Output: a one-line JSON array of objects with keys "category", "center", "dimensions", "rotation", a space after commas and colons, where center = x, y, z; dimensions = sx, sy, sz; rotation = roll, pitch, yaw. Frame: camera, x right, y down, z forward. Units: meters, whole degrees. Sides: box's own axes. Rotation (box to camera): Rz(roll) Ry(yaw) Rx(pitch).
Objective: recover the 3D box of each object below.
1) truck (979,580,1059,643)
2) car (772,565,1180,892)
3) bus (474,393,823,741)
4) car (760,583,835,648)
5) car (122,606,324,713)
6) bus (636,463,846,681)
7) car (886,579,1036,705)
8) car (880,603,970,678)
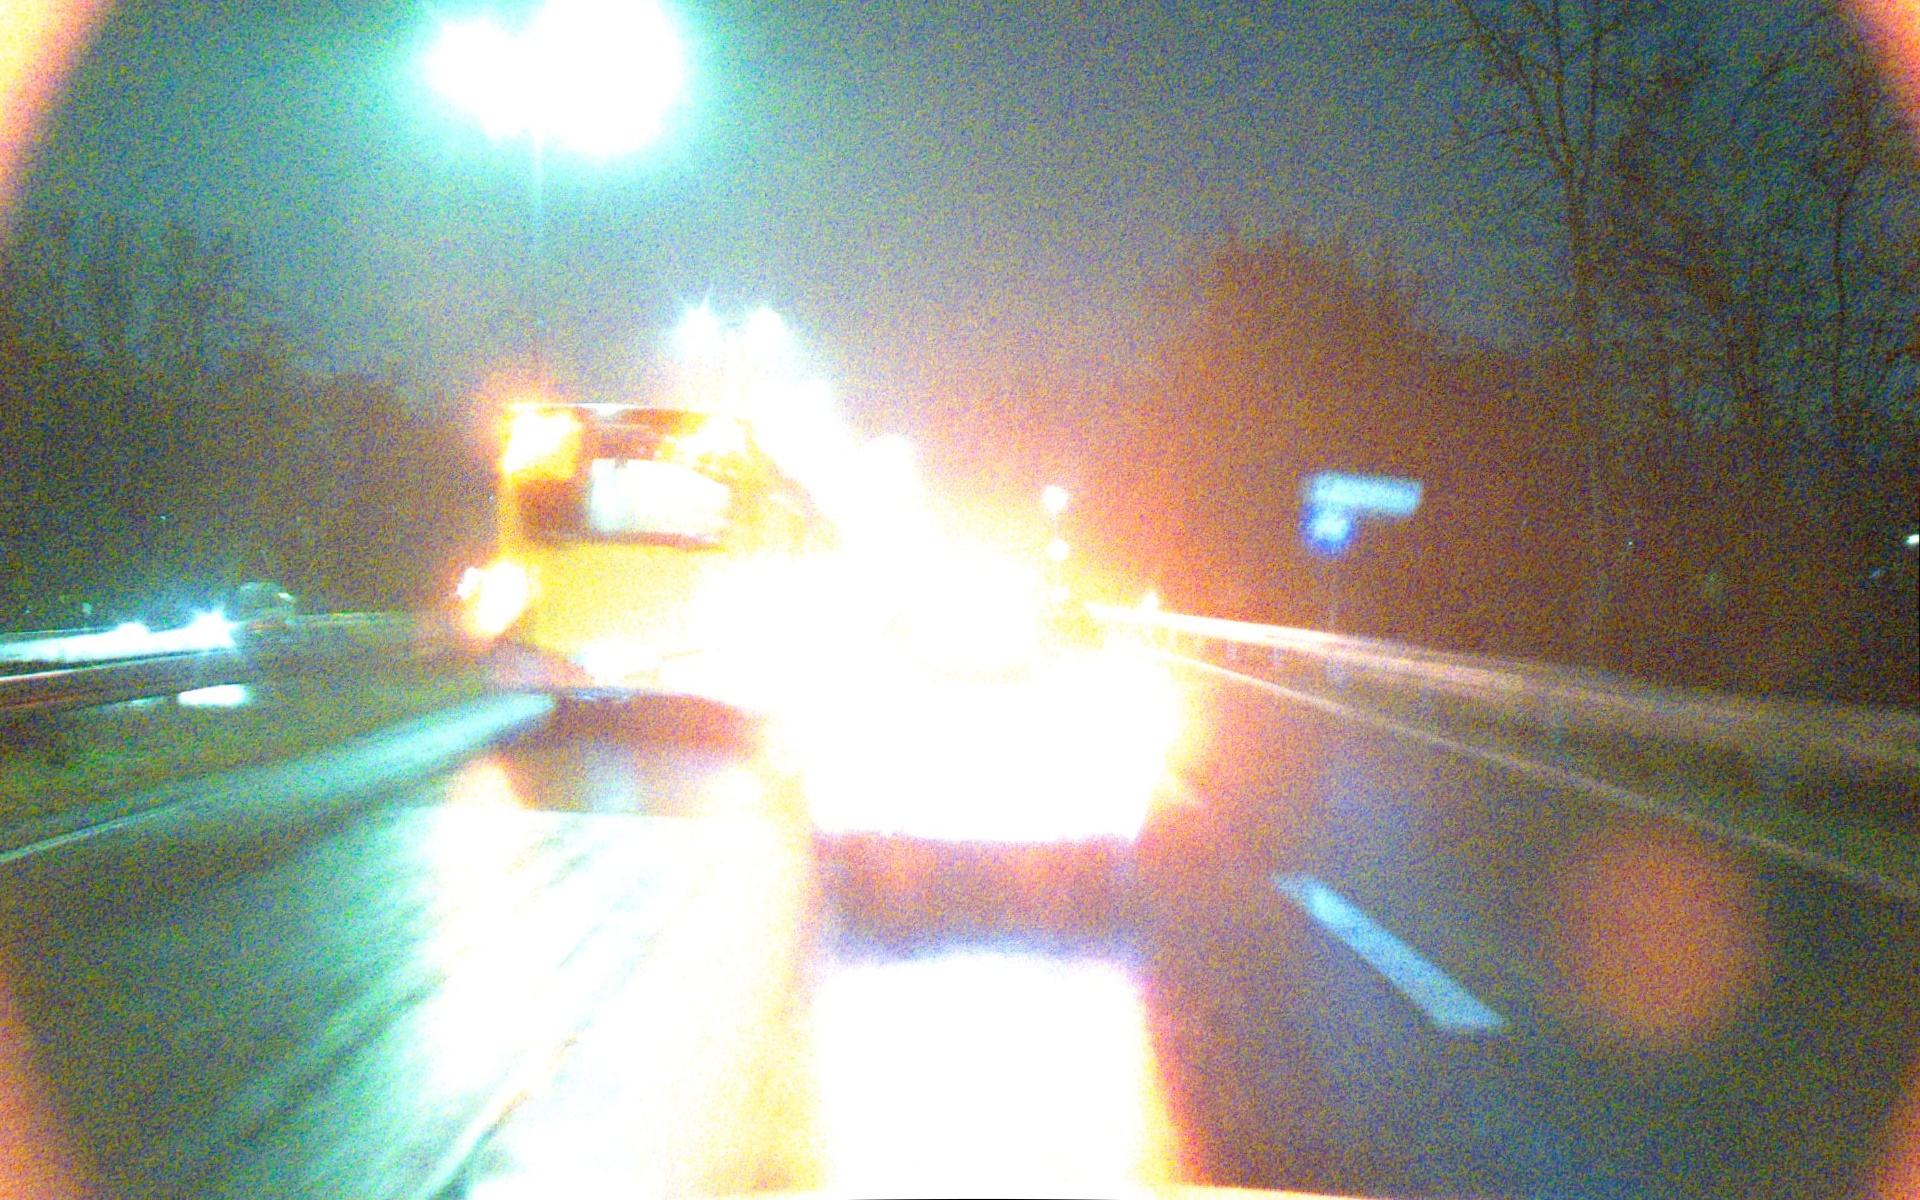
[{"category": "truck", "center": [2.715, 0.558, 74.018], "dimensions": [3.005, 2.573, 7.171], "rotation": [2, -1, 6]}, {"category": "car", "center": [0.059, 0.605, 9.653], "dimensions": [1.905, 1.517, 3.715], "rotation": [1, 0, -1]}, {"category": "bus", "center": [-3.306, -0.372, 20.159], "dimensions": [2.688, 3.178, 9.198], "rotation": [2, 1, -2]}, {"category": "car", "center": [-4.080, 0.401, 41.959], "dimensions": [1.526, 1.513, 3.808], "rotation": [2, -1, -1]}, {"category": "car", "center": [-13.914, 1.079, 31.526], "dimensions": [1.953, 1.840, 4.199], "rotation": [2, -1, -1]}, {"category": "bus", "center": [-3.581, -0.481, 29.156], "dimensions": [2.688, 3.178, 8.701], "rotation": [2, 1, -2]}, {"category": "car", "center": [-0.014, 0.499, 21.703], "dimensions": [1.785, 1.487, 3.715], "rotation": [1, 0, -1]}, {"category": "car", "center": [-0.739, 0.819, 35.108], "dimensions": [1.785, 1.487, 3.715], "rotation": [1, 0, -1]}]
